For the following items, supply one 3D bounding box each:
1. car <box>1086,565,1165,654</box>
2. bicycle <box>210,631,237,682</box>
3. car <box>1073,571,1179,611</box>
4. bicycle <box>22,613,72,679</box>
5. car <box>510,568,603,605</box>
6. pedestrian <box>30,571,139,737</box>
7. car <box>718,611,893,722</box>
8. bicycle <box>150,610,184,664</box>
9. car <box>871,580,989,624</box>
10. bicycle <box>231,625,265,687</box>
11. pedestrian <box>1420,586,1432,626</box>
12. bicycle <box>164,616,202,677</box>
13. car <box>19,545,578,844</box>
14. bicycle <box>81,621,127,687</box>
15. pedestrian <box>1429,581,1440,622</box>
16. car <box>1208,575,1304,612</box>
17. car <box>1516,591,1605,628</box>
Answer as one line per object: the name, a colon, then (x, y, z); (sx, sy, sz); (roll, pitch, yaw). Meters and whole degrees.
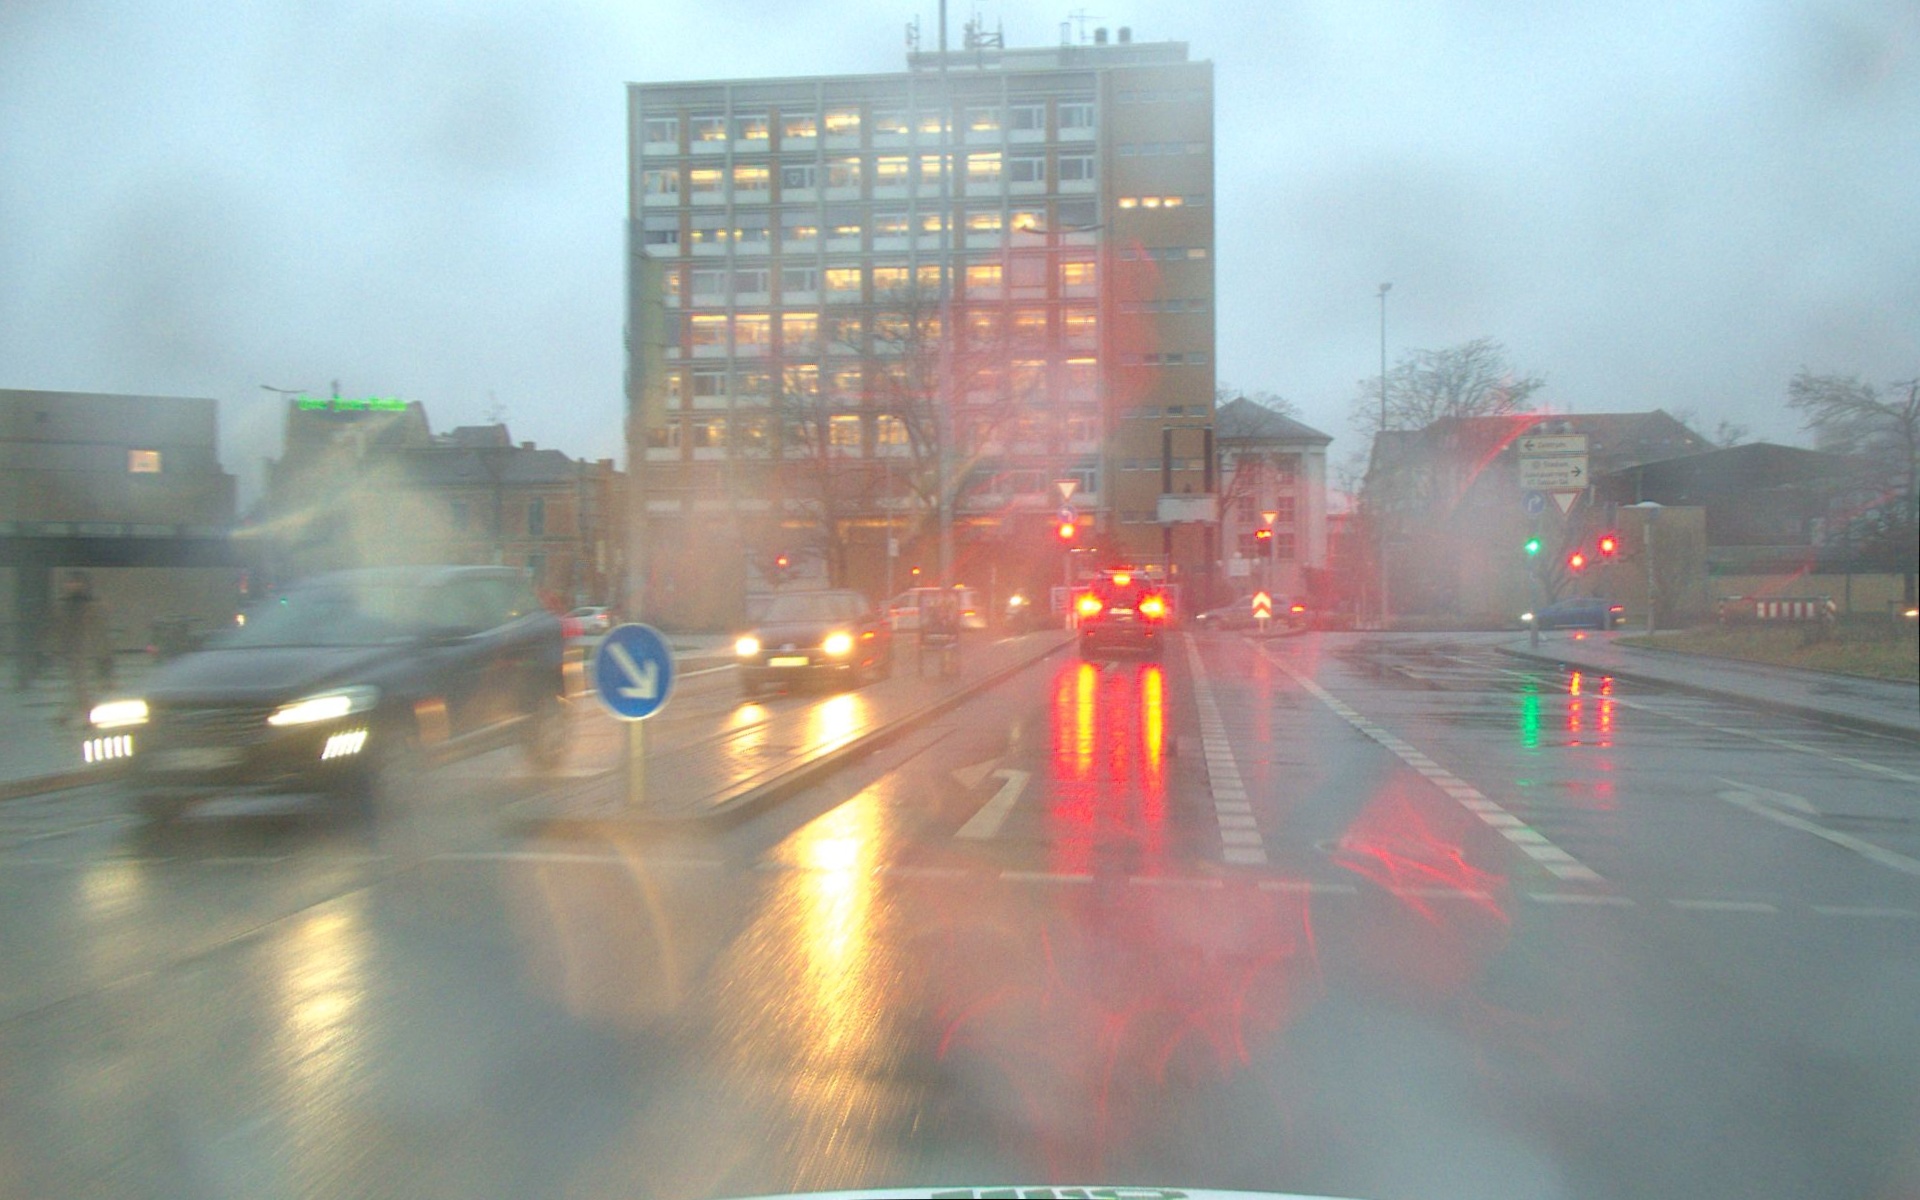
car: (3.765, 0.177, 37.177); (1.612, 1.850, 4.003); (1, 1, 7)
bicycle: (-17.750, 1.348, 39.861); (0.541, 1.185, 1.885); (2, -1, -23)
car: (8.991, -0.480, 89.302); (5.428, 2.060, 2.001); (1, -1, 13)
bicycle: (-16.989, 0.854, 30.811); (0.541, 1.185, 1.886); (2, -1, -22)
car: (-23.196, -0.775, 95.118); (4.829, 2.049, 2.000); (1, -1, 19)
pedestrian: (-9.227, 0.561, 17.455); (0.658, 1.703, 0.731); (1, -2, 11)
car: (-2.221, 0.939, 25.015); (1.709, 1.402, 4.370); (-2, 1, 7)
bicycle: (-17.823, 0.827, 37.201); (0.541, 1.185, 1.886); (2, -1, -22)
car: (-1.393, 0.098, 76.263); (5.050, 1.947, 1.999); (1, 0, 23)
bicycle: (-14.163, 1.101, 32.923); (0.541, 1.185, 1.886); (2, -1, -22)
pedestrian: (22.062, 0.277, 78.303); (0.429, 1.871, 0.459); (0, -2, 25)
bicycle: (-15.447, 0.916, 32.905); (0.541, 1.185, 1.886); (2, -1, -22)
car: (-4.364, 0.528, 11.829); (1.717, 1.691, 4.534); (-2, 0, 7)
bicycle: (-15.945, 0.997, 30.847); (0.541, 1.185, 1.886); (2, -1, -22)
pedestrian: (22.215, 0.068, 77.443); (0.449, 1.871, 0.438); (0, -2, 25)
car: (12.677, -0.293, 70.873); (3.837, 1.512, 1.469); (1, -2, 23)
car: (24.383, 0.387, 67.128); (3.341, 1.423, 1.469); (1, -2, 23)
